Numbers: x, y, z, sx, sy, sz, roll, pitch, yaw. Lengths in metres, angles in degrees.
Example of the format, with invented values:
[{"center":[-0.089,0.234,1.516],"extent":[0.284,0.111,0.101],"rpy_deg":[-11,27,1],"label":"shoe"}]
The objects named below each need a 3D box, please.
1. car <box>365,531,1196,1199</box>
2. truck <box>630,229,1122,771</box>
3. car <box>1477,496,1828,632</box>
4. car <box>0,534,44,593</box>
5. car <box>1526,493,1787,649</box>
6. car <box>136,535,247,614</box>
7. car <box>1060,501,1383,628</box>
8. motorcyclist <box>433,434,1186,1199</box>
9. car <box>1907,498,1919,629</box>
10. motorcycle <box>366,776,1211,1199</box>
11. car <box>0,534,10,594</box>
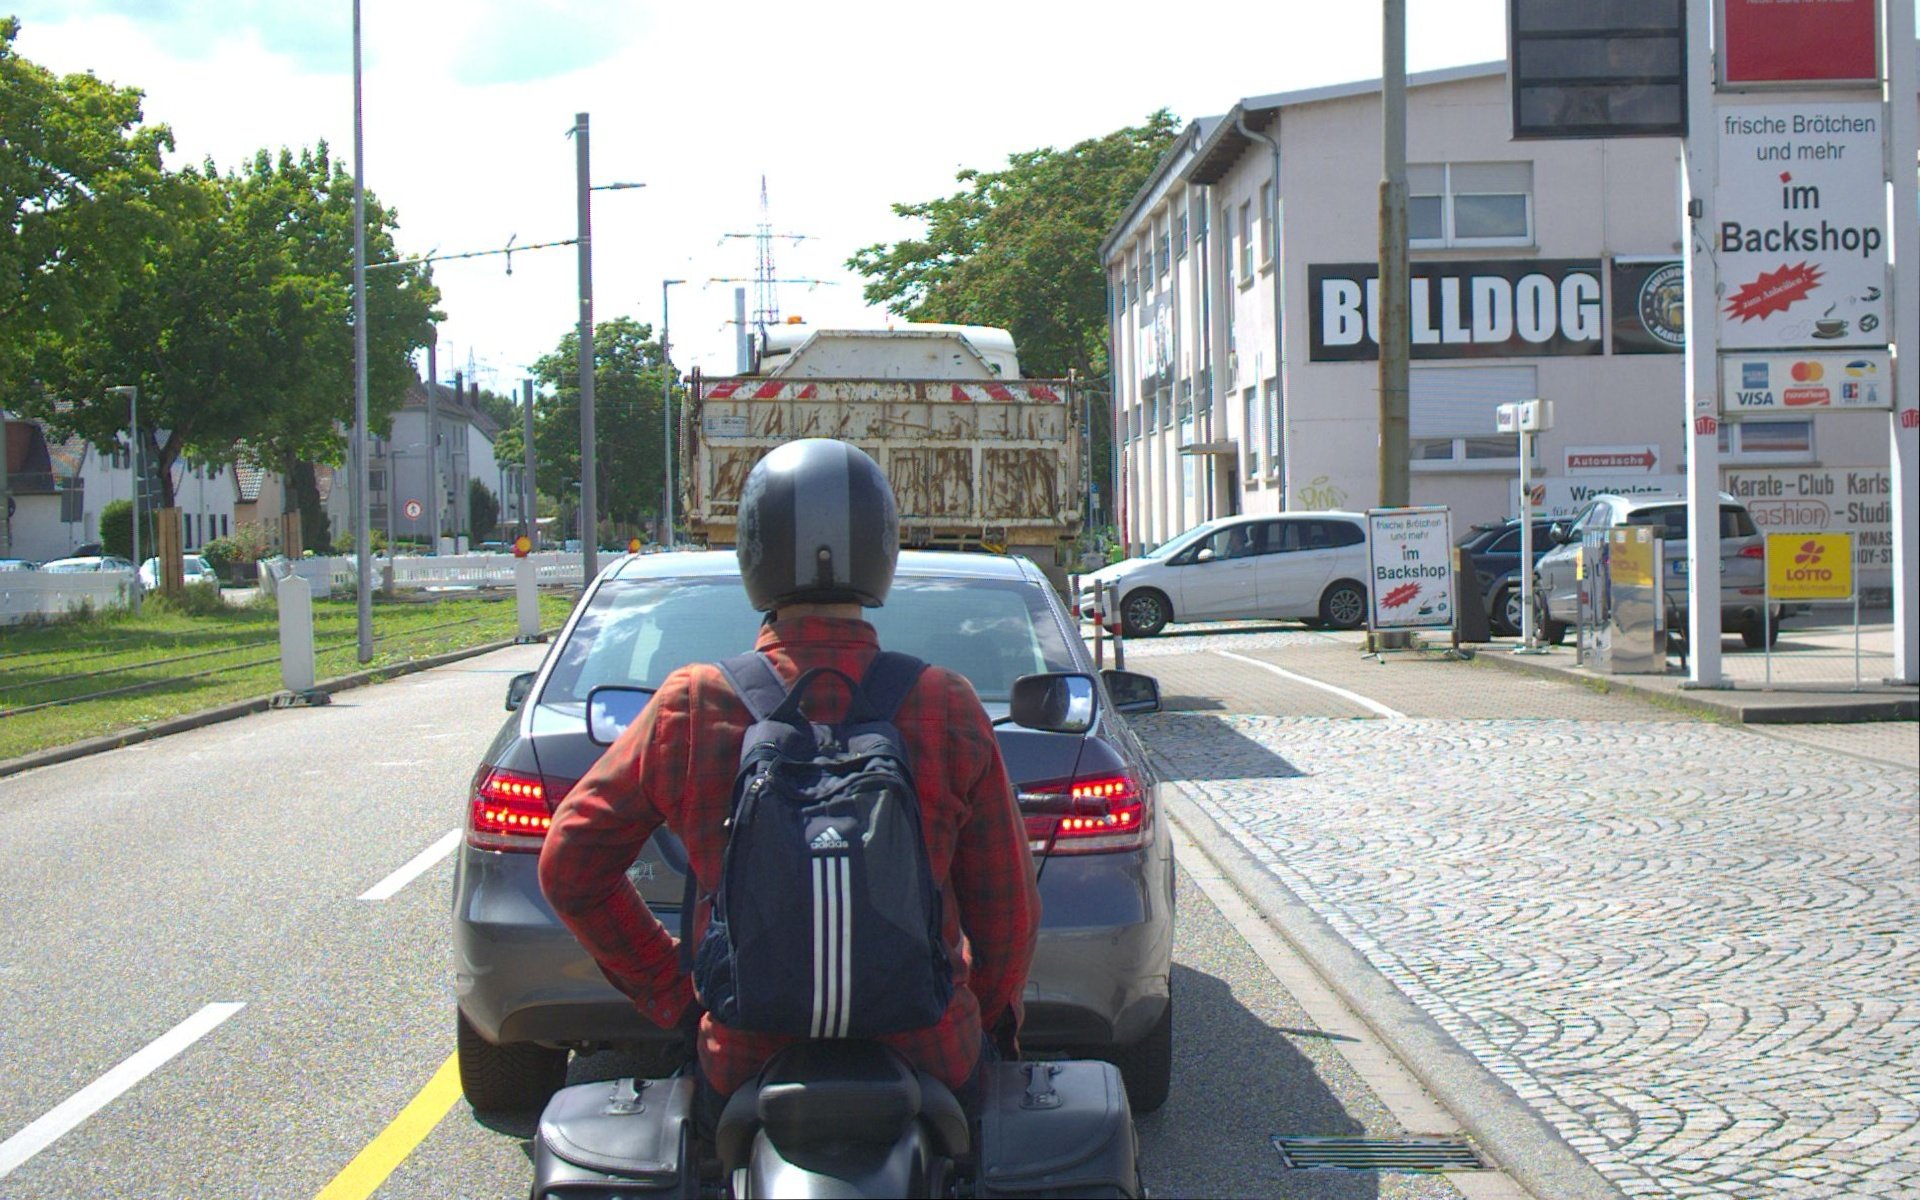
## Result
[{"center":[-0.458,0.569,9.744],"extent":[1.832,1.474,4.010],"rpy_deg":[-1,1,-2],"label":"car"},{"center":[-0.634,-0.713,25.467],"extent":[2.970,3.293,8.408],"rpy_deg":[-1,1,-2],"label":"truck"},{"center":[8.770,-0.469,43.765],"extent":[4.105,1.619,1.686],"rpy_deg":[-1,1,1],"label":"car"},{"center":[-29.263,-1.106,104.588],"extent":[1.698,1.733,4.062],"rpy_deg":[-1,1,0],"label":"car"},{"center":[7.347,-0.339,36.644],"extent":[1.832,1.530,4.010],"rpy_deg":[-1,1,-2],"label":"car"},{"center":[-17.809,-0.620,79.830],"extent":[1.698,1.733,3.860],"rpy_deg":[-1,1,0],"label":"car"},{"center":[3.551,-0.498,47.030],"extent":[4.104,1.619,1.686],"rpy_deg":[-1,1,-8],"label":"car"},{"center":[-0.206,0.590,5.083],"extent":[0.969,1.627,1.215],"rpy_deg":[1,1,-1],"label":"motorcyclist"},{"center":[11.789,-0.398,37.242],"extent":[1.832,1.474,4.010],"rpy_deg":[-1,1,-2],"label":"car"},{"center":[-0.216,0.865,5.206],"extent":[0.976,1.010,2.432],"rpy_deg":[1,1,-1],"label":"motorcycle"},{"center":[-28.668,-0.995,98.577],"extent":[1.698,1.733,4.062],"rpy_deg":[-1,1,0],"label":"car"}]
